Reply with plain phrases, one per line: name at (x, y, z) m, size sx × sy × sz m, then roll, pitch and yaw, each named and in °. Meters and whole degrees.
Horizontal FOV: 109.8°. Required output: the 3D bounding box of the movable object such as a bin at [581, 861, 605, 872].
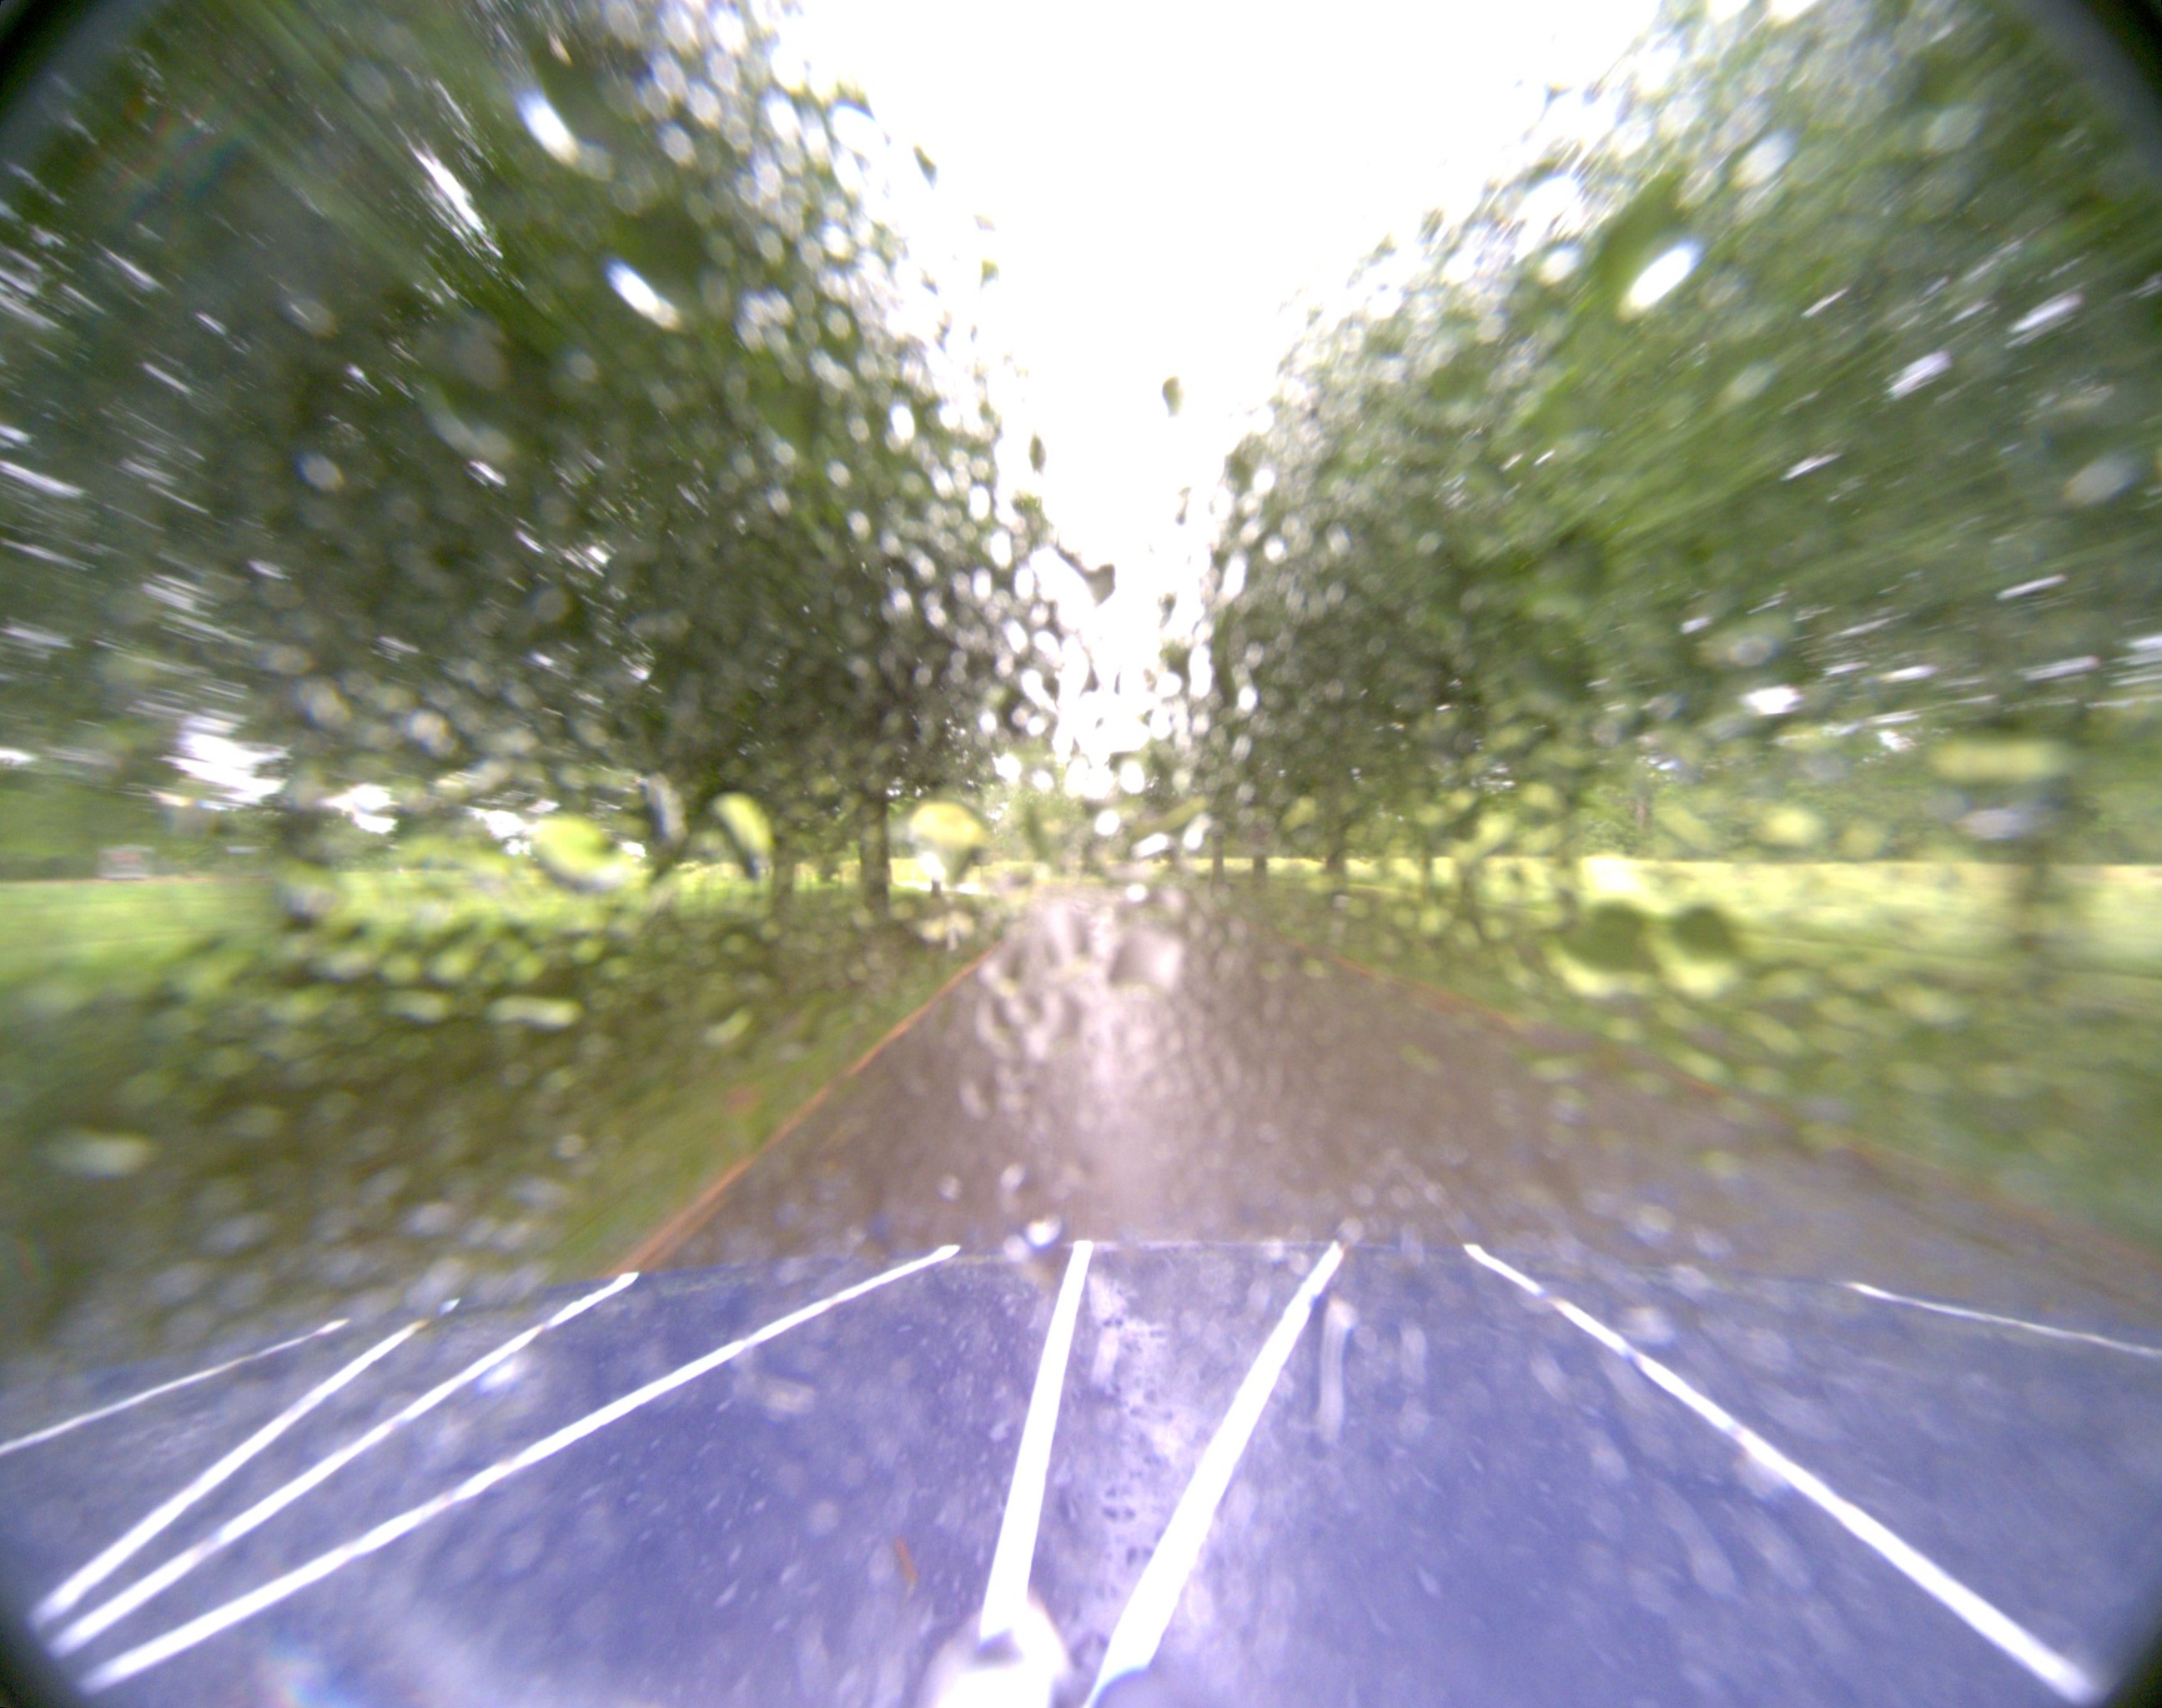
movable object such as a bin at (-72.173, 1.859, 112.453) m, size 3.528 × 1.562 × 1.687 m, roll 0°, pitch 0°, yaw 34°
